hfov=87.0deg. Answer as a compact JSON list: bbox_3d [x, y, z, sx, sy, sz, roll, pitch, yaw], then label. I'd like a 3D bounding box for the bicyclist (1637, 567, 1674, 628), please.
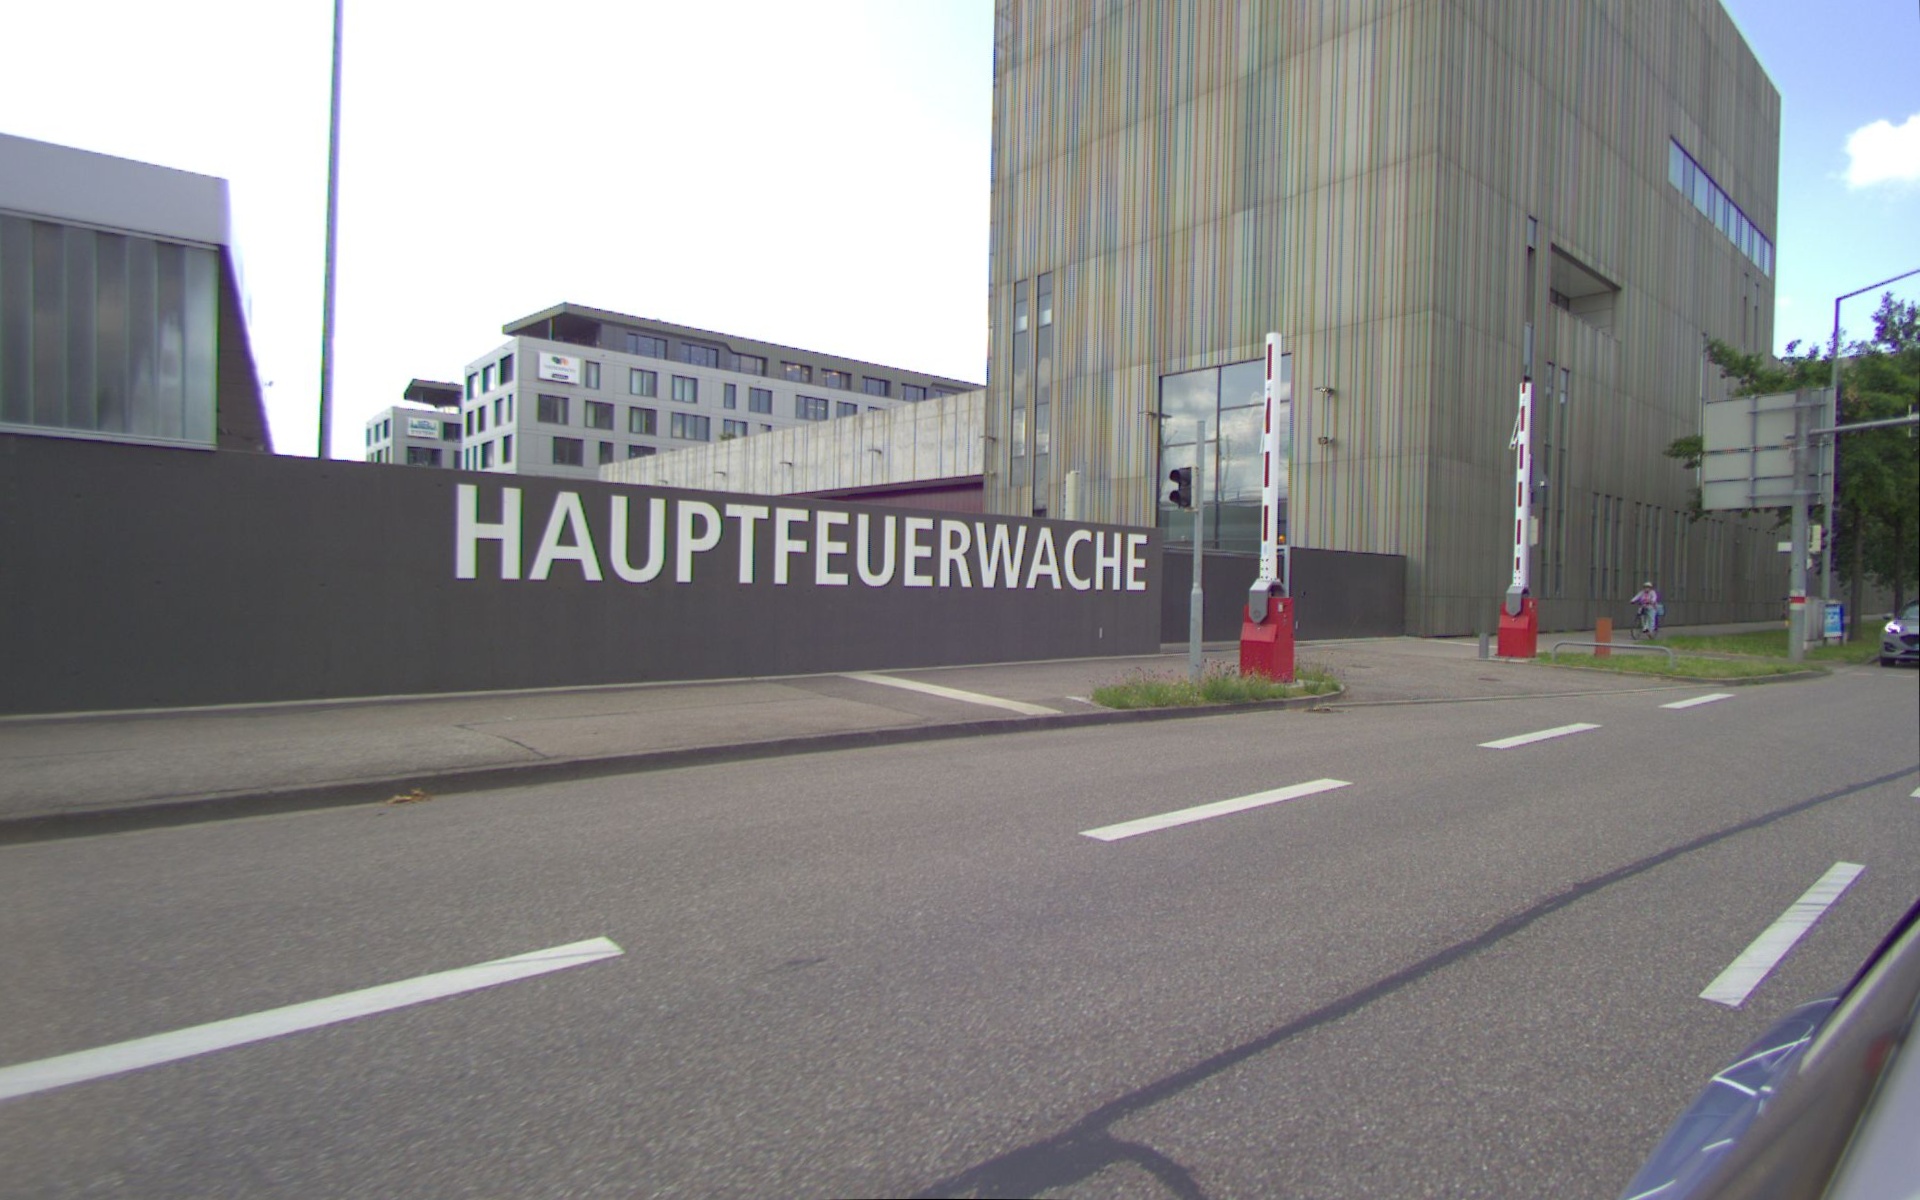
[{"bbox_3d":[21.079,-0.085,30.674,0.972,1.791,0.716,0,1,-44],"label":"bicyclist"}]

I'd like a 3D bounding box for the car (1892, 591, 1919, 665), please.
[{"bbox_3d":[22.487,0.607,22.752,3.884,1.594,1.822,0,-1,-41],"label":"car"}]

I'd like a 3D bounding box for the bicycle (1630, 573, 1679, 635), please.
[{"bbox_3d":[21.092,0.117,30.697,2.492,1.796,0.720,0,2,-44],"label":"bicycle"}]
